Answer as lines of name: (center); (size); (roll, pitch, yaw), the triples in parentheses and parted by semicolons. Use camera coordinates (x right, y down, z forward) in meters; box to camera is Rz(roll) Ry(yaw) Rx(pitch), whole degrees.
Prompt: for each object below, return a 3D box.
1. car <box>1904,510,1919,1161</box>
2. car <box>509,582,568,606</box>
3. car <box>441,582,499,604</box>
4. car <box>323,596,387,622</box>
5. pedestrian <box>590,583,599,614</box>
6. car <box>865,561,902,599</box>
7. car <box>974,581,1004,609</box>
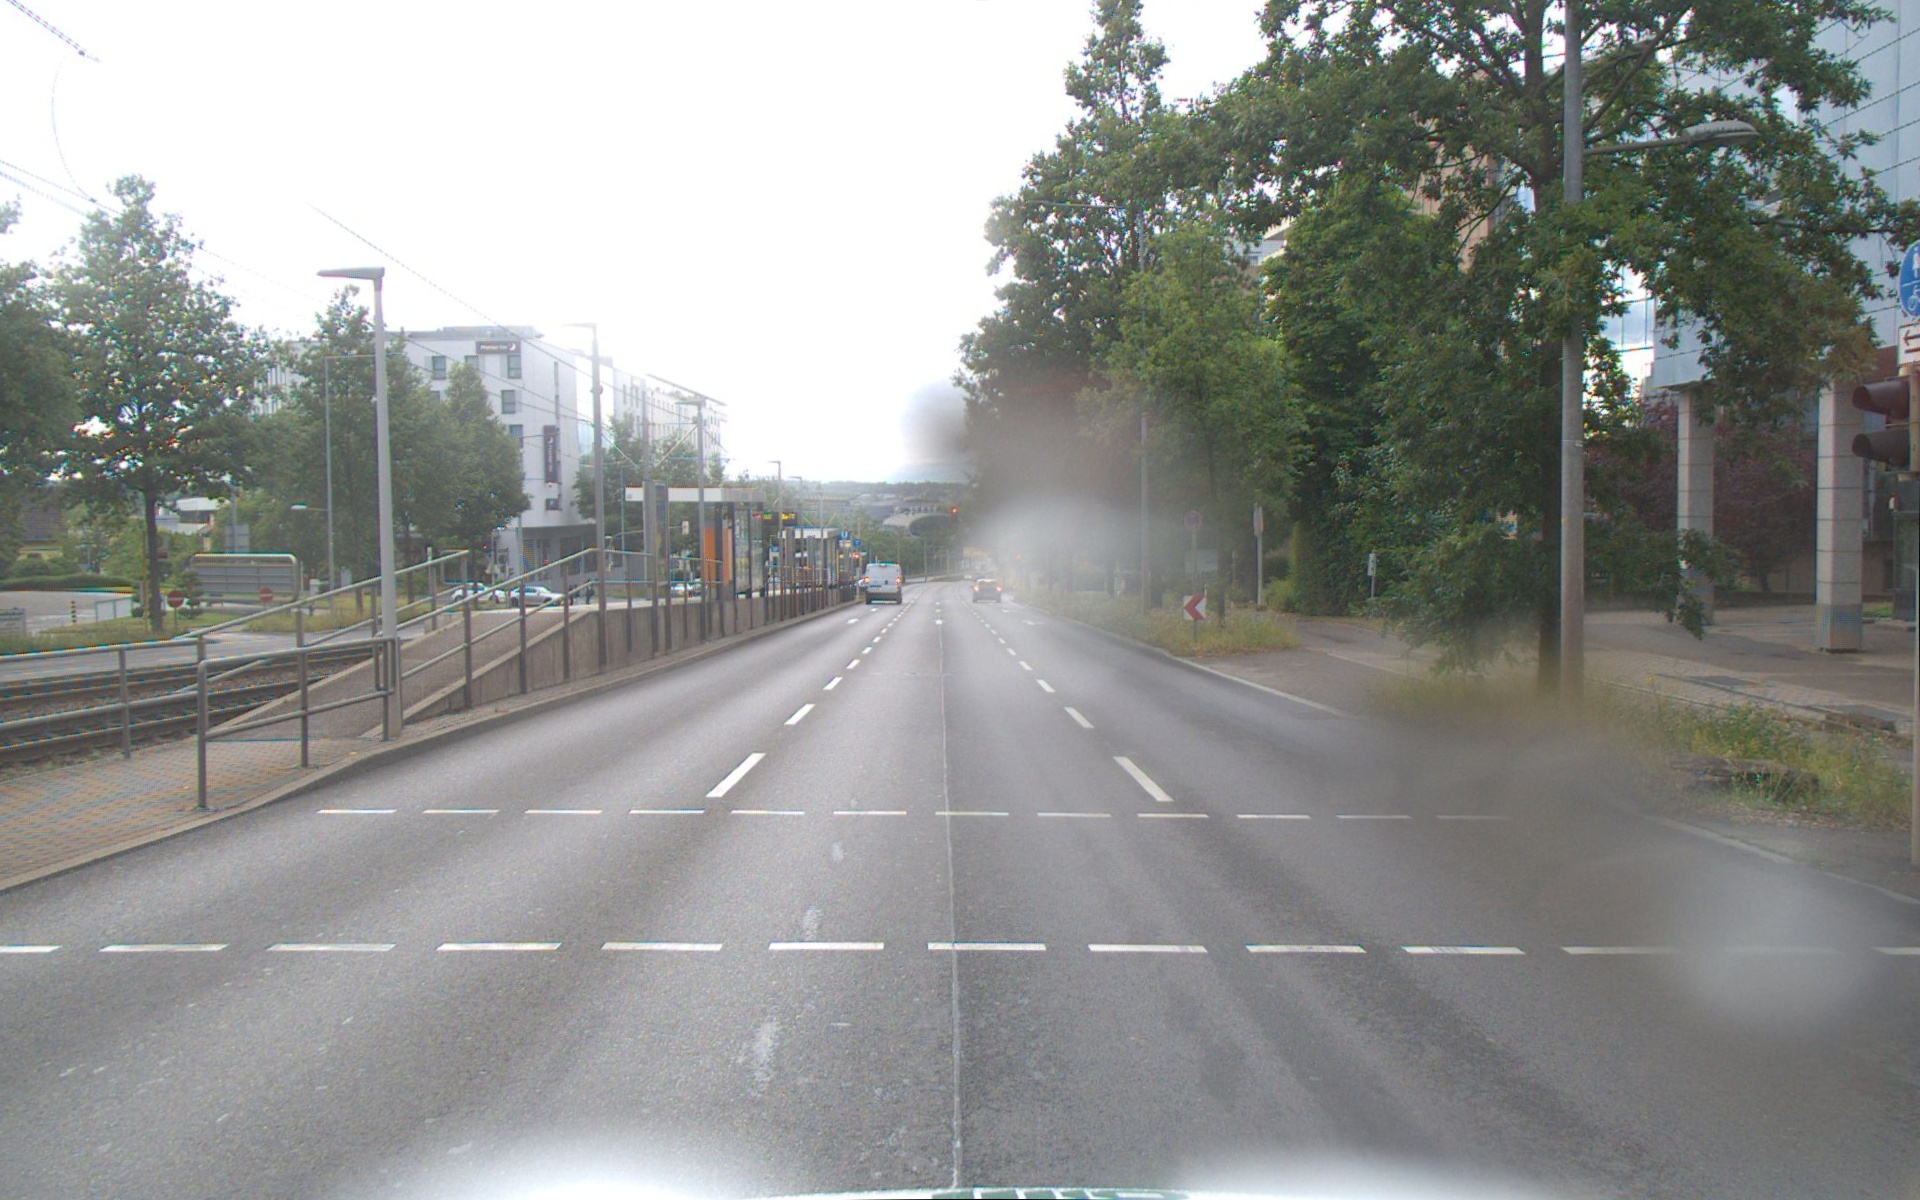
car: (3.351, 0.619, 2.024); (1.781, 1.641, 4.470); (0, 1, -1)
car: (-29.776, -0.428, 116.845); (3.790, 1.461, 1.655); (-2, 1, 26)
car: (-35.881, -0.534, 121.216); (4.022, 1.461, 1.649); (-3, 1, -16)
car: (-35.004, 0.511, 95.720); (3.297, 1.411, 1.434); (0, 1, 16)
pedestrian: (-23.140, -0.105, 104.708); (0.465, 1.954, 0.490); (0, 0, -1)
car: (-4.376, -1.154, 95.429); (2.051, 2.089, 4.605); (0, 1, -2)
car: (1.775, -0.345, 103.068); (1.738, 1.720, 3.845); (0, 1, -1)
